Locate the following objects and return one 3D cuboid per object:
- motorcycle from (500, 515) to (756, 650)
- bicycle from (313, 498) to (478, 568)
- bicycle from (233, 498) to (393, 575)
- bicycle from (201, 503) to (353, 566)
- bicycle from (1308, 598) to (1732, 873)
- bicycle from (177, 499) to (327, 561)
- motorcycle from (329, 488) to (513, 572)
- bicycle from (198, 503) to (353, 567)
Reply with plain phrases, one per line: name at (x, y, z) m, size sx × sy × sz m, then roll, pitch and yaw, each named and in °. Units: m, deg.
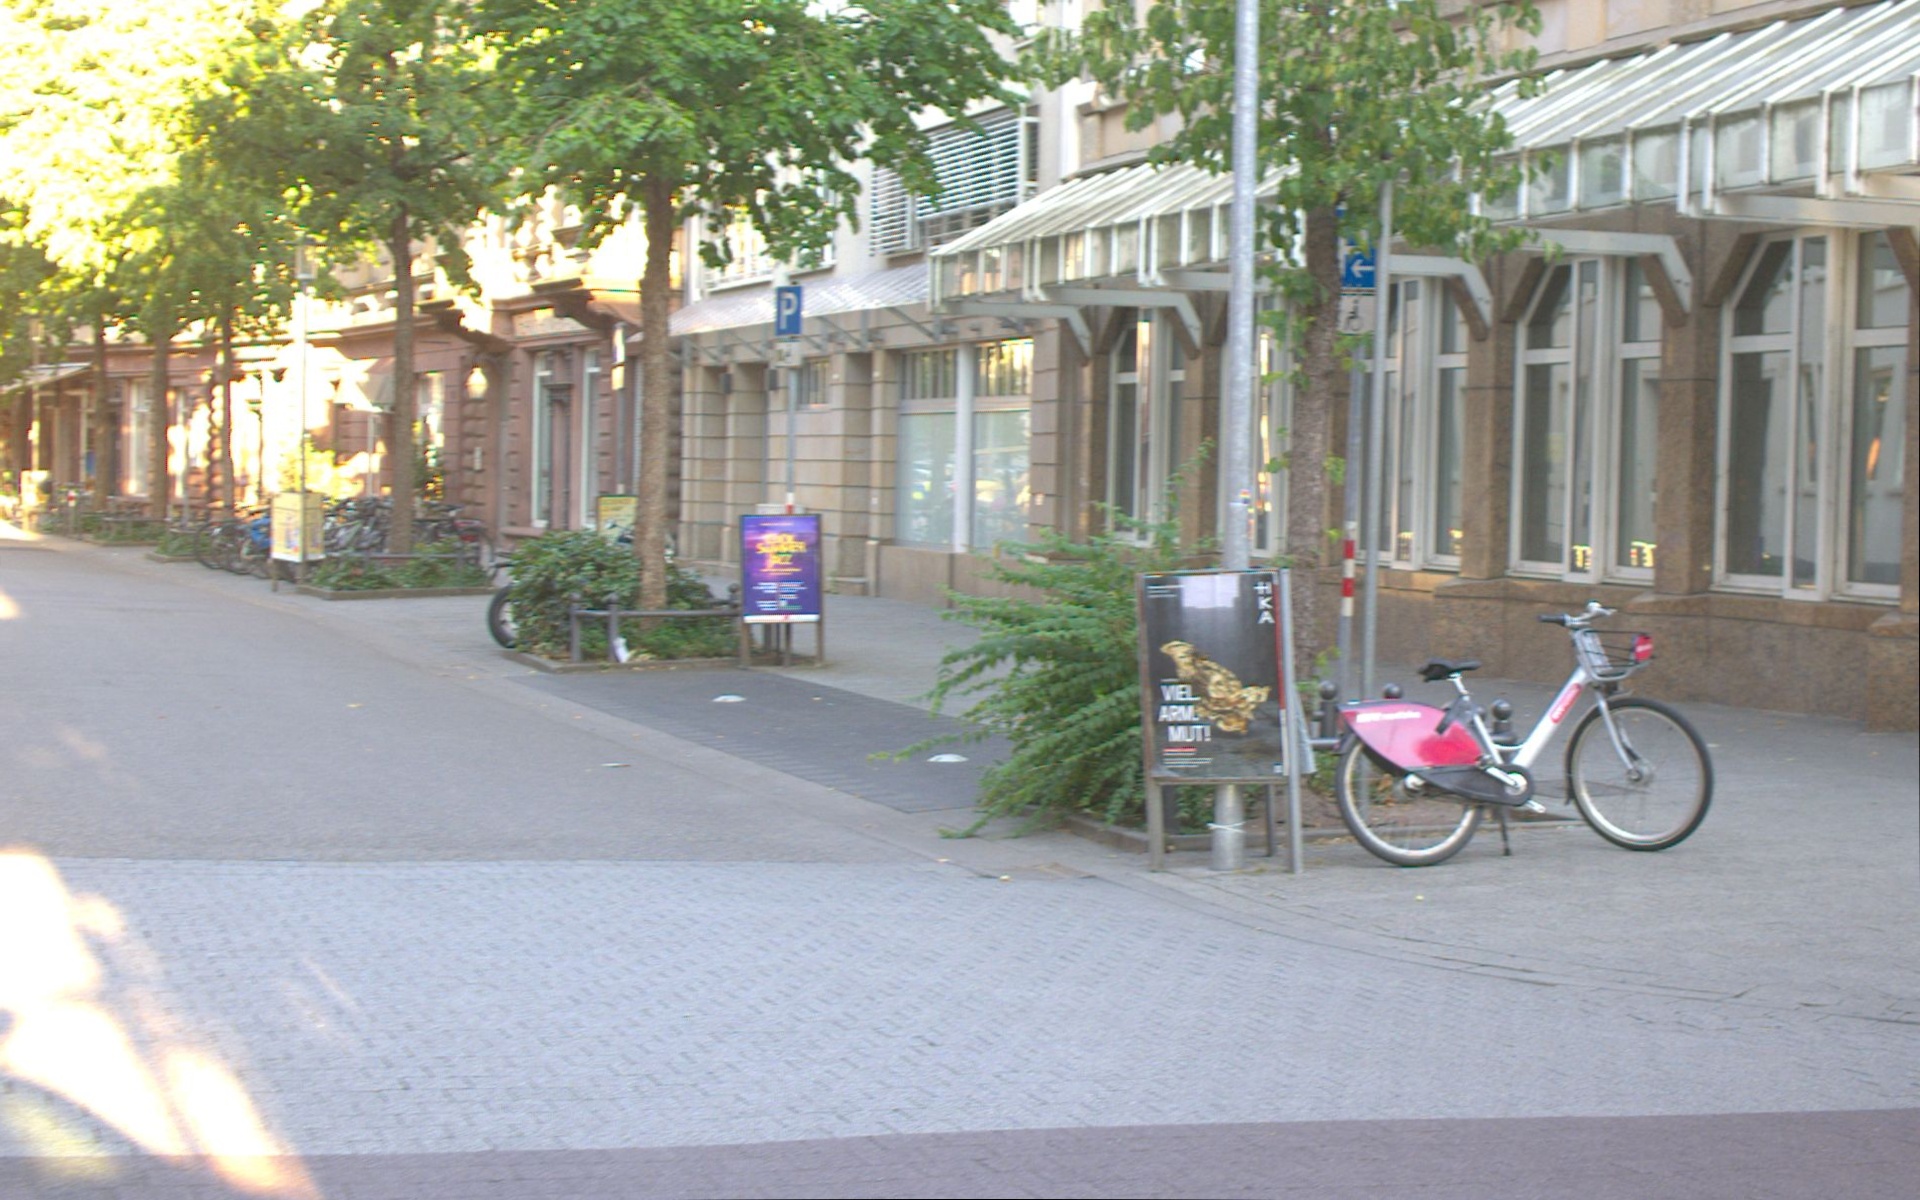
motorcycle at (-2.887, -0.152, 29.957) m, size 2.152 × 1.147 × 0.494 m, roll 0°, pitch 1°, yaw -21°
bicycle at (-7.685, -0.909, 46.839) m, size 2.153 × 0.922 × 0.591 m, roll 0°, pitch 2°, yaw -34°
bicycle at (-9.080, -0.894, 48.313) m, size 2.152 × 1.057 × 0.591 m, roll 1°, pitch 1°, yaw -4°
bicycle at (-10.223, -0.984, 51.473) m, size 2.152 × 0.922 × 0.591 m, roll 0°, pitch 2°, yaw -26°
bicycle at (2.334, 0.556, 14.448) m, size 1.656 × 1.047 × 0.663 m, roll -1°, pitch 3°, yaw 0°
bicycle at (-10.780, -1.063, 52.341) m, size 2.152 × 0.922 × 0.591 m, roll 0°, pitch 2°, yaw -26°
motorcycle at (-7.167, -0.934, 45.798) m, size 2.472 × 1.091 × 0.590 m, roll -1°, pitch 2°, yaw -41°
bicycle at (-10.059, -0.954, 50.569) m, size 2.152 × 0.922 × 0.591 m, roll 0°, pitch 2°, yaw -26°
